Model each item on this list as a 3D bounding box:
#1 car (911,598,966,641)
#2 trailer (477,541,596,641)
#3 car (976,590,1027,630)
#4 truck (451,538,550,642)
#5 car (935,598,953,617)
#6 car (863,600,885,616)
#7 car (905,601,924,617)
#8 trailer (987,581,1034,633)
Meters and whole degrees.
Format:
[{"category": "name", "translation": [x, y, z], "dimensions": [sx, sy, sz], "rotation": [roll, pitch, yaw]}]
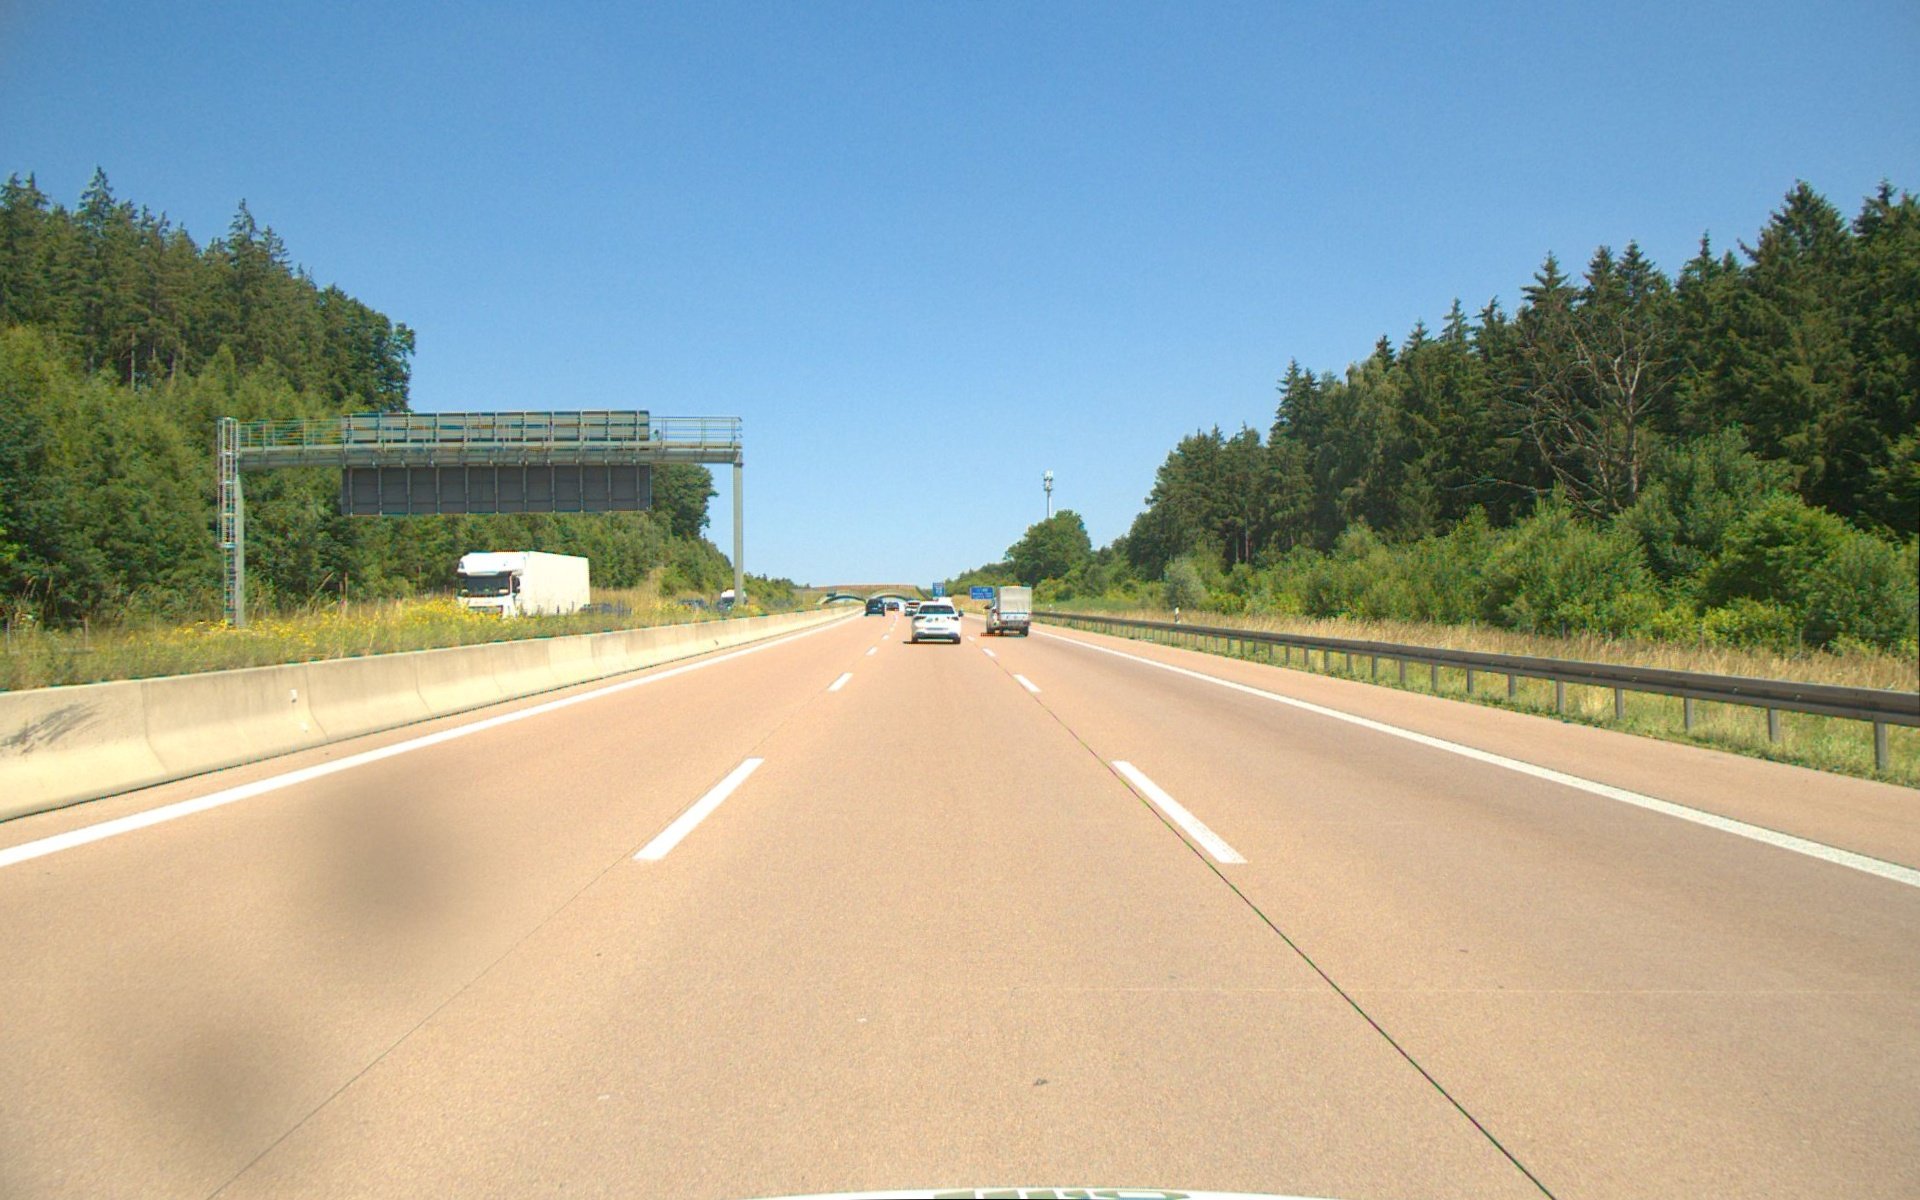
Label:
[{"category": "car", "translation": [-0.756, 0.685, 58.265], "dimensions": [1.852, 1.422, 3.999], "rotation": [1, 0, -1]}, {"category": "trailer", "translation": [-20.503, -0.415, 80.999], "dimensions": [2.648, 4.512, 13.189], "rotation": [0, 0, -1]}, {"category": "car", "translation": [1.847, 0.481, 75.957], "dimensions": [1.853, 1.759, 5.181], "rotation": [0, 0, -4]}, {"category": "truck", "translation": [-20.479, -0.427, 74.032], "dimensions": [2.648, 4.457, 6.476], "rotation": [0, 0, -1]}, {"category": "car", "translation": [-1.791, 0.811, 185.152], "dimensions": [2.067, 2.090, 3.999], "rotation": [0, 0, -1]}, {"category": "car", "translation": [-8.141, 0.784, 156.732], "dimensions": [1.852, 1.489, 3.999], "rotation": [0, 0, -1]}, {"category": "car", "translation": [-4.387, 0.814, 159.065], "dimensions": [1.853, 1.489, 3.998], "rotation": [1, 0, -2]}, {"category": "trailer", "translation": [2.147, 0.307, 71.433], "dimensions": [1.625, 2.202, 4.012], "rotation": [0, -1, -4]}]
